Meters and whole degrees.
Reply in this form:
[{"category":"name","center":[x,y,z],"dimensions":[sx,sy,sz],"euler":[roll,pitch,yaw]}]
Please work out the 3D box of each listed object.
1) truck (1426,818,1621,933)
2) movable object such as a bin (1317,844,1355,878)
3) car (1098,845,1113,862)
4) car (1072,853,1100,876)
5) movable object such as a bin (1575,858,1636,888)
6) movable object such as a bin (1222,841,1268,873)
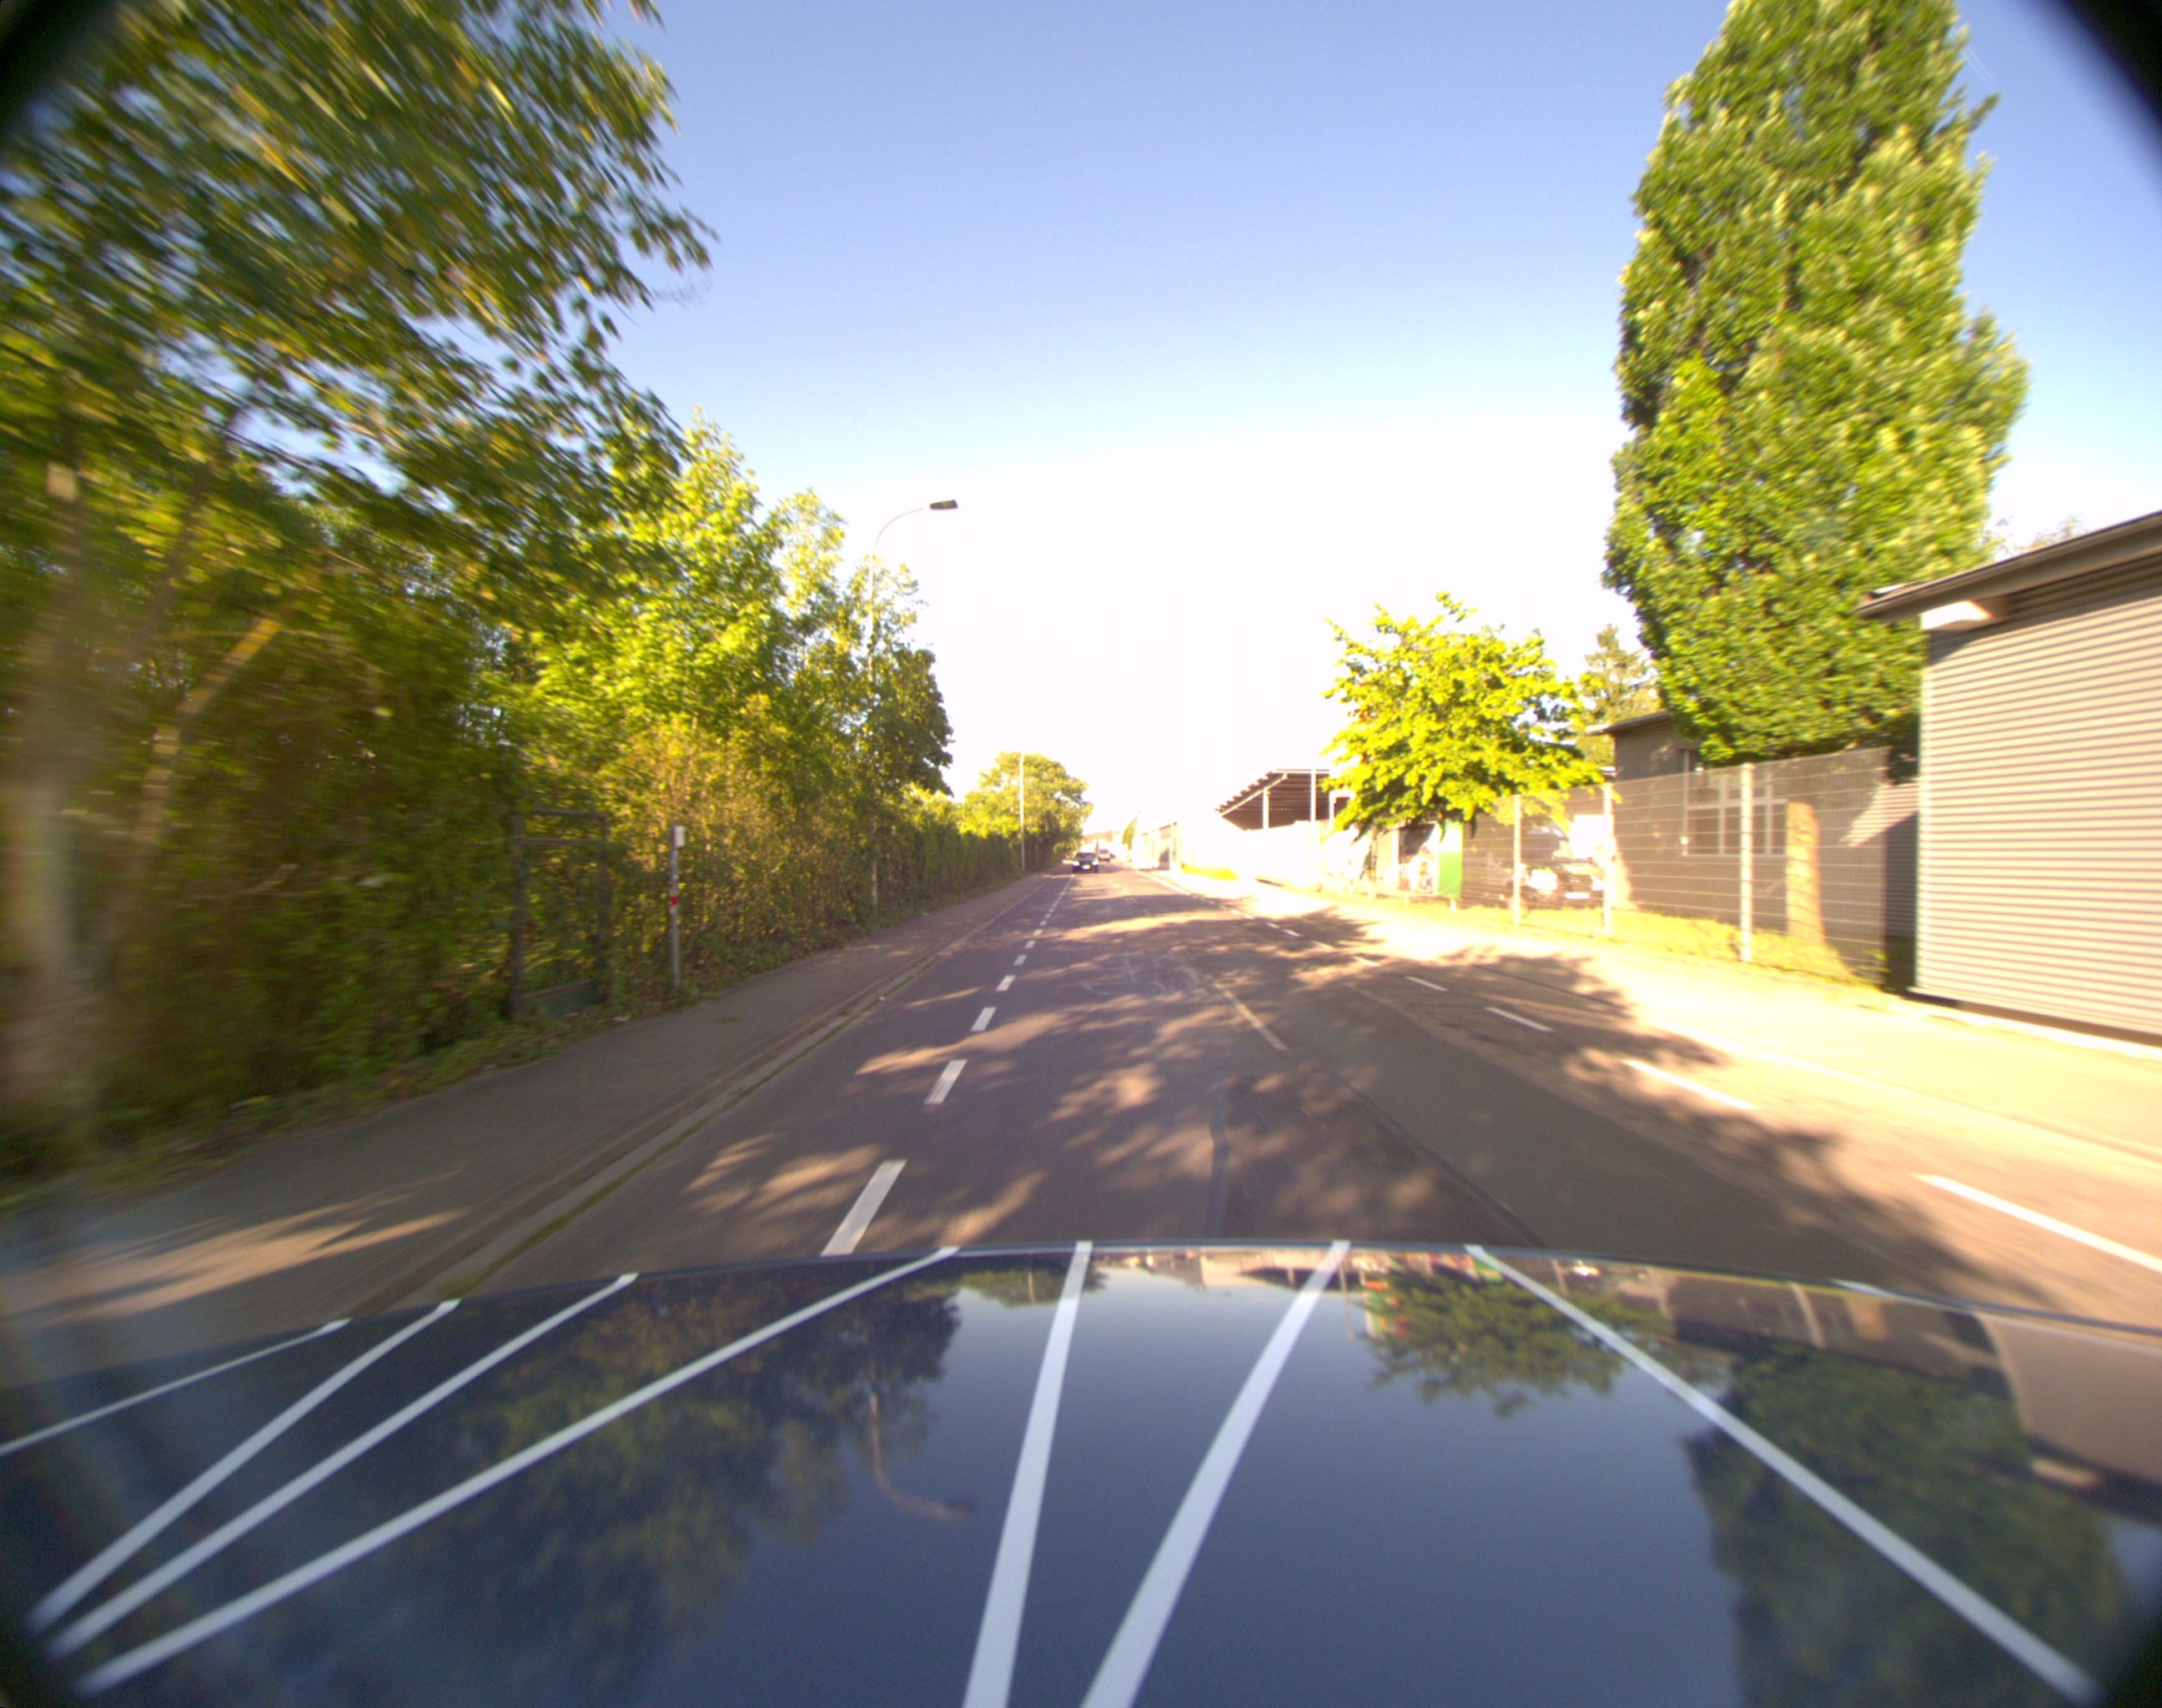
[{"category":"truck","center":[12.053,0.532,21.340],"dimensions":[2.084,2.745,5.765],"euler":[1,0,0]},{"category":"movable object such as a bin","center":[16.438,0.448,49.043],"dimensions":[1.580,2.080,2.478],"euler":[1,0,-2]},{"category":"car","center":[4.263,-0.072,132.860],"dimensions":[2.128,2.764,5.925],"euler":[3,1,0]},{"category":"car","center":[0.363,0.749,58.749],"dimensions":[2.037,1.623,4.612],"euler":[1,1,0]},{"category":"movable object such as a bin","center":[27.909,1.001,40.530],"dimensions":[1.331,1.482,2.757],"euler":[1,1,0]},{"category":"movable object such as a bin","center":[11.284,0.217,52.237],"dimensions":[2.765,2.152,1.526],"euler":[1,0,30]}]
